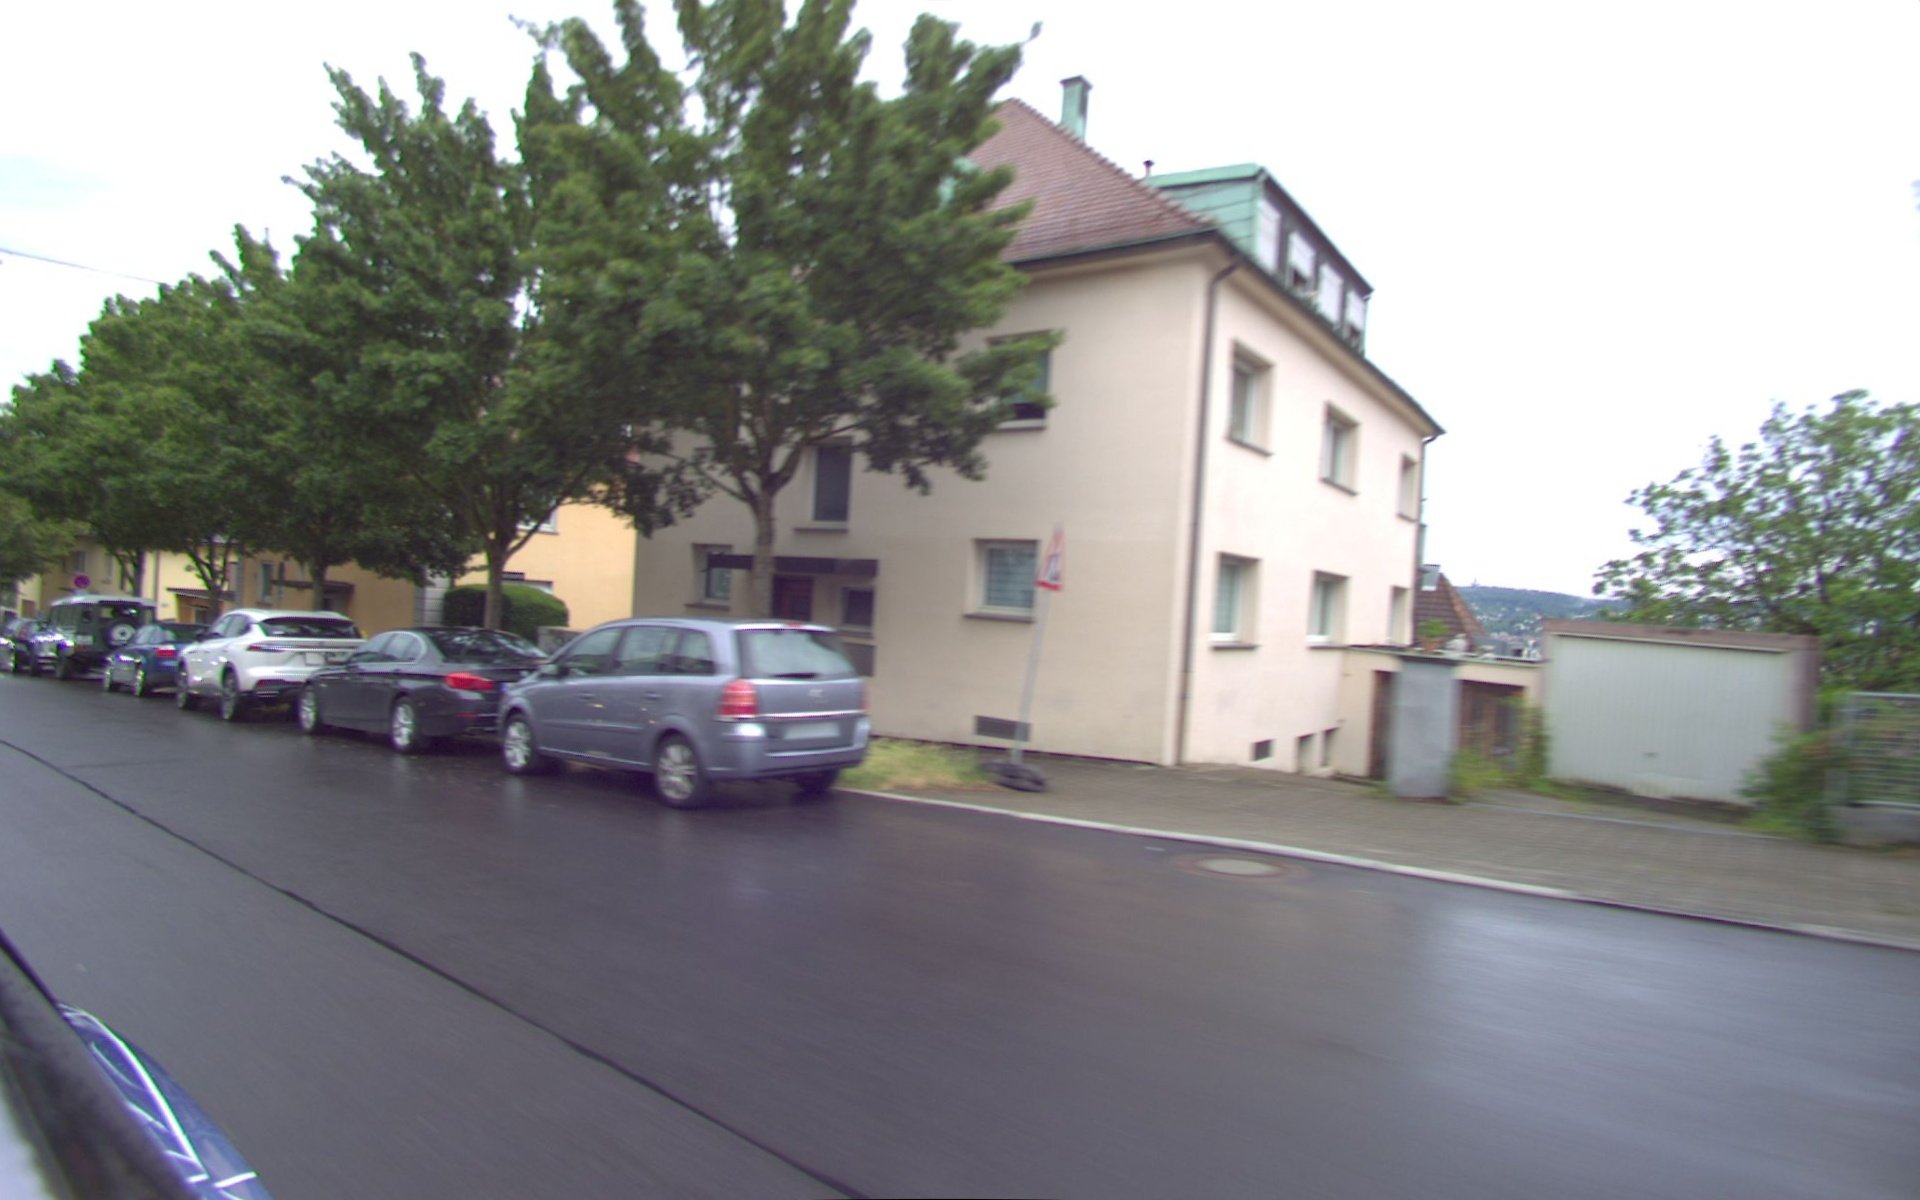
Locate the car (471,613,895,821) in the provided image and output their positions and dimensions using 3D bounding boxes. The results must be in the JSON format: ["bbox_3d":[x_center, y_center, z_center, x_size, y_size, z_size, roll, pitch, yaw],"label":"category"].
[{"bbox_3d":[-2.797,0.968,9.720,4.290,1.557,1.700,0,-4,39],"label":"car"}]

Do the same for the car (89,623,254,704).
[{"bbox_3d":[-15.819,1.238,20.230,4.263,1.453,1.602,-1,-5,39],"label":"car"}]

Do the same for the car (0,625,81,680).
[{"bbox_3d":[-25.876,1.427,28.059,3.534,1.384,1.524,-1,-5,38],"label":"car"}]

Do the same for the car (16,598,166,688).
[{"bbox_3d":[-21.538,1.046,25.023,4.555,2.027,1.800,-1,-5,38],"label":"car"}]

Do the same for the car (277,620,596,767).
[{"bbox_3d":[-6.824,1.067,12.975,4.733,1.520,1.804,0,-3,39],"label":"car"}]

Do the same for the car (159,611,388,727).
[{"bbox_3d":[-11.110,1.049,16.257,4.505,1.626,1.790,-1,-4,40],"label":"car"}]
